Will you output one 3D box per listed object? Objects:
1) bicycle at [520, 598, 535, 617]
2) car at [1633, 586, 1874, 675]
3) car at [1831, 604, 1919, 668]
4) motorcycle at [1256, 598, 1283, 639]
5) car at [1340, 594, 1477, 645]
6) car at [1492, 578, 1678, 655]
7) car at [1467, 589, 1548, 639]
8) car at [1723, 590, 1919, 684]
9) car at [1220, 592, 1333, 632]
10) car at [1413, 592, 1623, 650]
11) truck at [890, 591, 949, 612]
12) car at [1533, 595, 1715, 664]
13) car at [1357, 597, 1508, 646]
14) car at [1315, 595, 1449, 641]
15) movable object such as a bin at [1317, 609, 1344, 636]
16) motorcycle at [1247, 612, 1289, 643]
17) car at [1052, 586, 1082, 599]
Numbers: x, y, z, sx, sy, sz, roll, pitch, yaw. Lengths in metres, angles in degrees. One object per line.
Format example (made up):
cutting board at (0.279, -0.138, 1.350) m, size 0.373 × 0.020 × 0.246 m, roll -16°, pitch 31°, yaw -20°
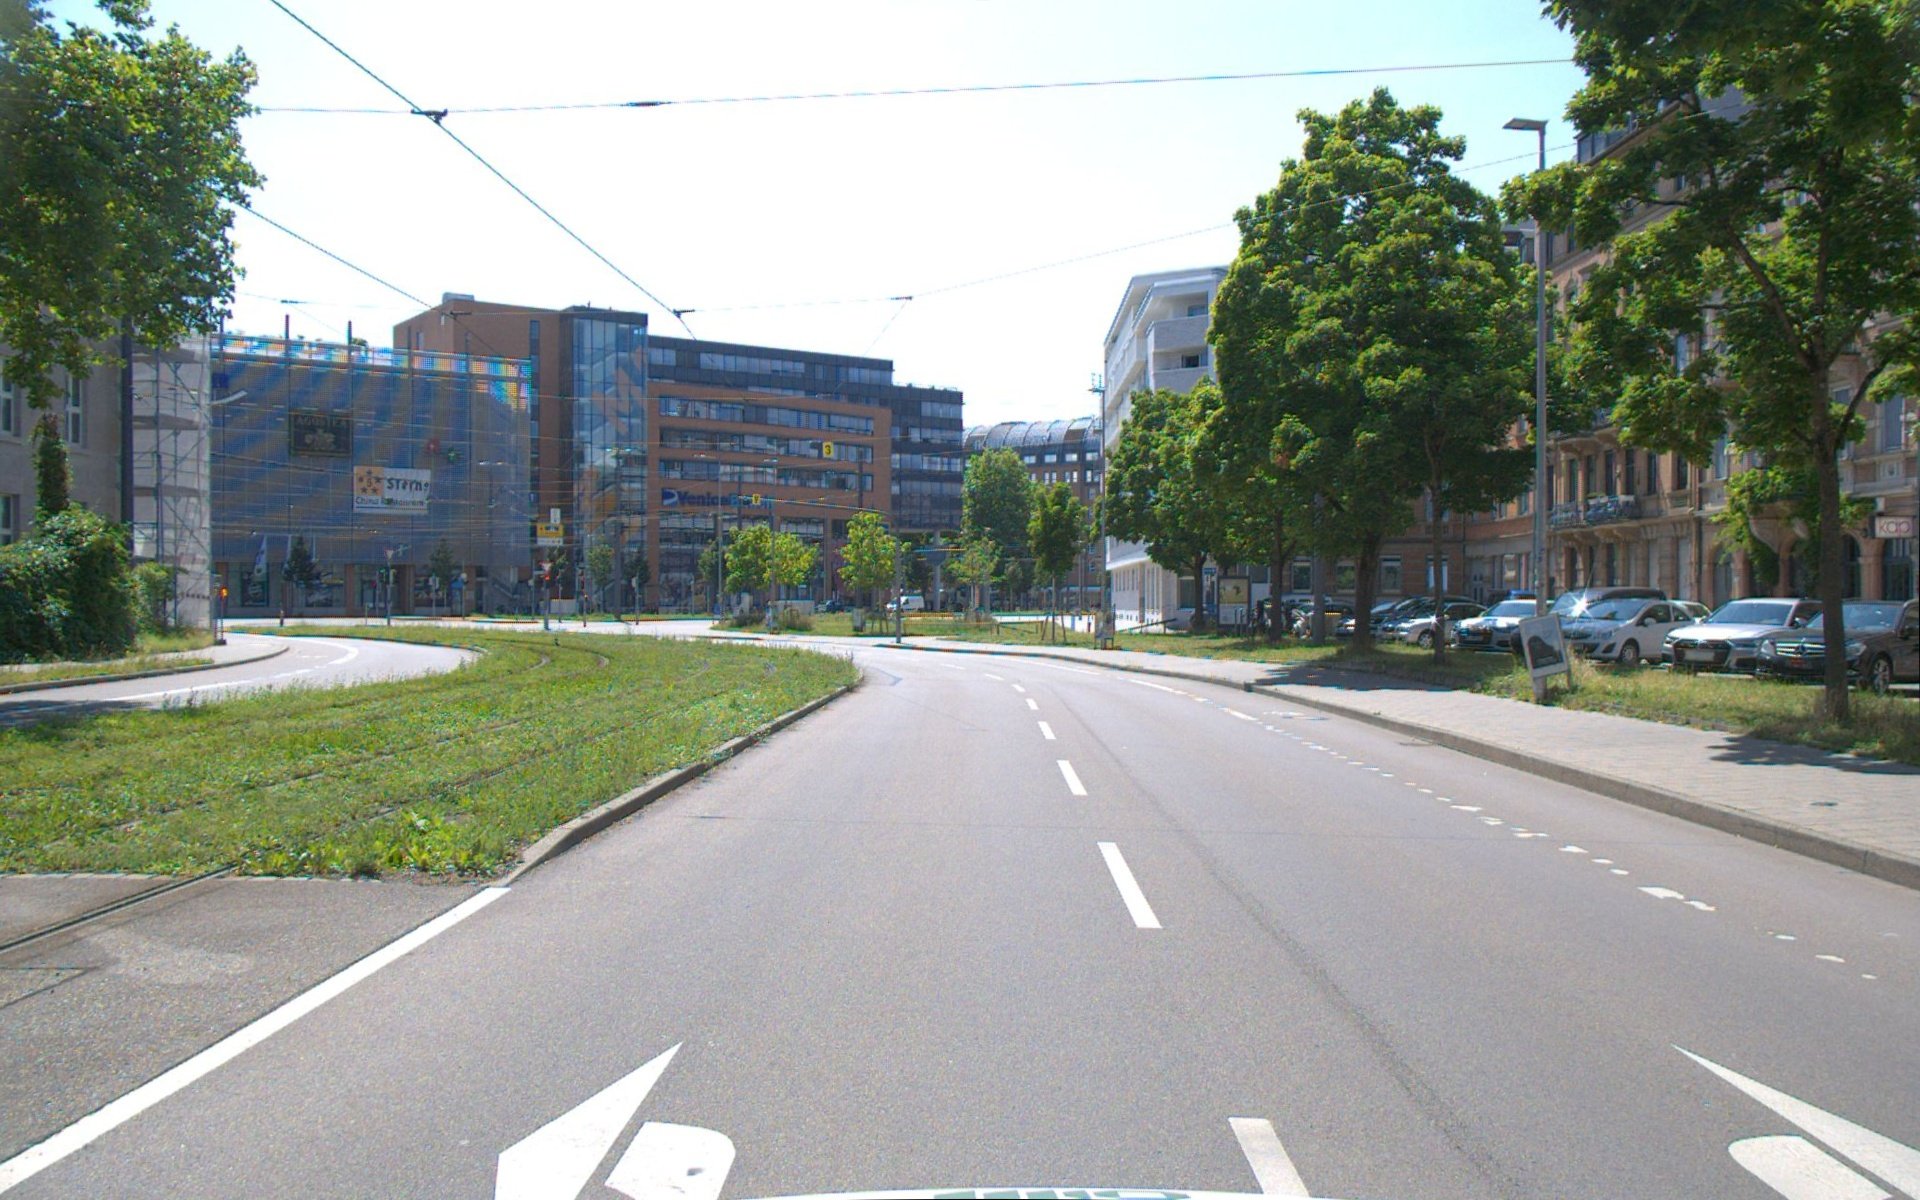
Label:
bicycle at (-40.608, 0.731, 155.413) m, size 0.593 × 1.761 × 2.232 m, roll 1°, pitch 0°, yaw -35°
car at (14.187, 0.540, 29.483) m, size 4.640 × 1.452 × 1.947 m, roll 1°, pitch 0°, yaw -36°
car at (22.488, 0.843, 39.159) m, size 1.742 × 1.445 × 3.715 m, roll 1°, pitch 0°, yaw 0°
motorcycle at (11.037, 0.653, 58.962) m, size 0.661 × 1.438 × 1.857 m, roll -1°, pitch 0°, yaw 2°
car at (14.087, 0.607, 51.933) m, size 4.030 × 1.495 × 1.782 m, roll 1°, pitch 0°, yaw -27°
car at (14.769, 0.395, 39.093) m, size 3.937 × 1.691 × 1.956 m, roll 1°, pitch 0°, yaw -26°
car at (22.575, 0.559, 68.407) m, size 1.880 × 1.937 × 4.654 m, roll 1°, pitch 0°, yaw 1°
car at (14.214, 0.578, 26.014) m, size 4.374 × 1.362 × 1.951 m, roll 1°, pitch 0°, yaw -32°
car at (13.987, 0.538, 72.944) m, size 4.800 × 1.629 × 1.820 m, roll 1°, pitch 0°, yaw -27°
car at (13.902, 0.527, 41.218) m, size 4.704 × 1.336 × 2.136 m, roll 1°, pitch 0°, yaw -21°
truck at (-5.874, 0.198, 239.609) m, size 9.046 × 2.858 × 1.994 m, roll 1°, pitch 0°, yaw 33°
car at (14.450, 0.651, 35.950) m, size 3.948 × 1.424 × 1.694 m, roll 1°, pitch 0°, yaw -32°
car at (13.961, 0.634, 48.863) m, size 3.930 × 1.336 × 1.960 m, roll 1°, pitch 0°, yaw -21°
car at (13.901, 0.600, 54.458) m, size 4.279 × 1.400 × 1.570 m, roll 1°, pitch 0°, yaw -26°
movable object such as a bin at (13.525, 0.811, 60.415) m, size 0.965 × 0.953 × 0.702 m, roll 1°, pitch 0°, yaw 12°
motorcycle at (11.622, 1.033, 62.494) m, size 1.489 × 1.140 × 0.478 m, roll 1°, pitch 0°, yaw 0°
car at (15.915, -1.116, 245.876) m, size 3.914 × 1.758 × 1.862 m, roll 1°, pitch 0°, yaw 32°
